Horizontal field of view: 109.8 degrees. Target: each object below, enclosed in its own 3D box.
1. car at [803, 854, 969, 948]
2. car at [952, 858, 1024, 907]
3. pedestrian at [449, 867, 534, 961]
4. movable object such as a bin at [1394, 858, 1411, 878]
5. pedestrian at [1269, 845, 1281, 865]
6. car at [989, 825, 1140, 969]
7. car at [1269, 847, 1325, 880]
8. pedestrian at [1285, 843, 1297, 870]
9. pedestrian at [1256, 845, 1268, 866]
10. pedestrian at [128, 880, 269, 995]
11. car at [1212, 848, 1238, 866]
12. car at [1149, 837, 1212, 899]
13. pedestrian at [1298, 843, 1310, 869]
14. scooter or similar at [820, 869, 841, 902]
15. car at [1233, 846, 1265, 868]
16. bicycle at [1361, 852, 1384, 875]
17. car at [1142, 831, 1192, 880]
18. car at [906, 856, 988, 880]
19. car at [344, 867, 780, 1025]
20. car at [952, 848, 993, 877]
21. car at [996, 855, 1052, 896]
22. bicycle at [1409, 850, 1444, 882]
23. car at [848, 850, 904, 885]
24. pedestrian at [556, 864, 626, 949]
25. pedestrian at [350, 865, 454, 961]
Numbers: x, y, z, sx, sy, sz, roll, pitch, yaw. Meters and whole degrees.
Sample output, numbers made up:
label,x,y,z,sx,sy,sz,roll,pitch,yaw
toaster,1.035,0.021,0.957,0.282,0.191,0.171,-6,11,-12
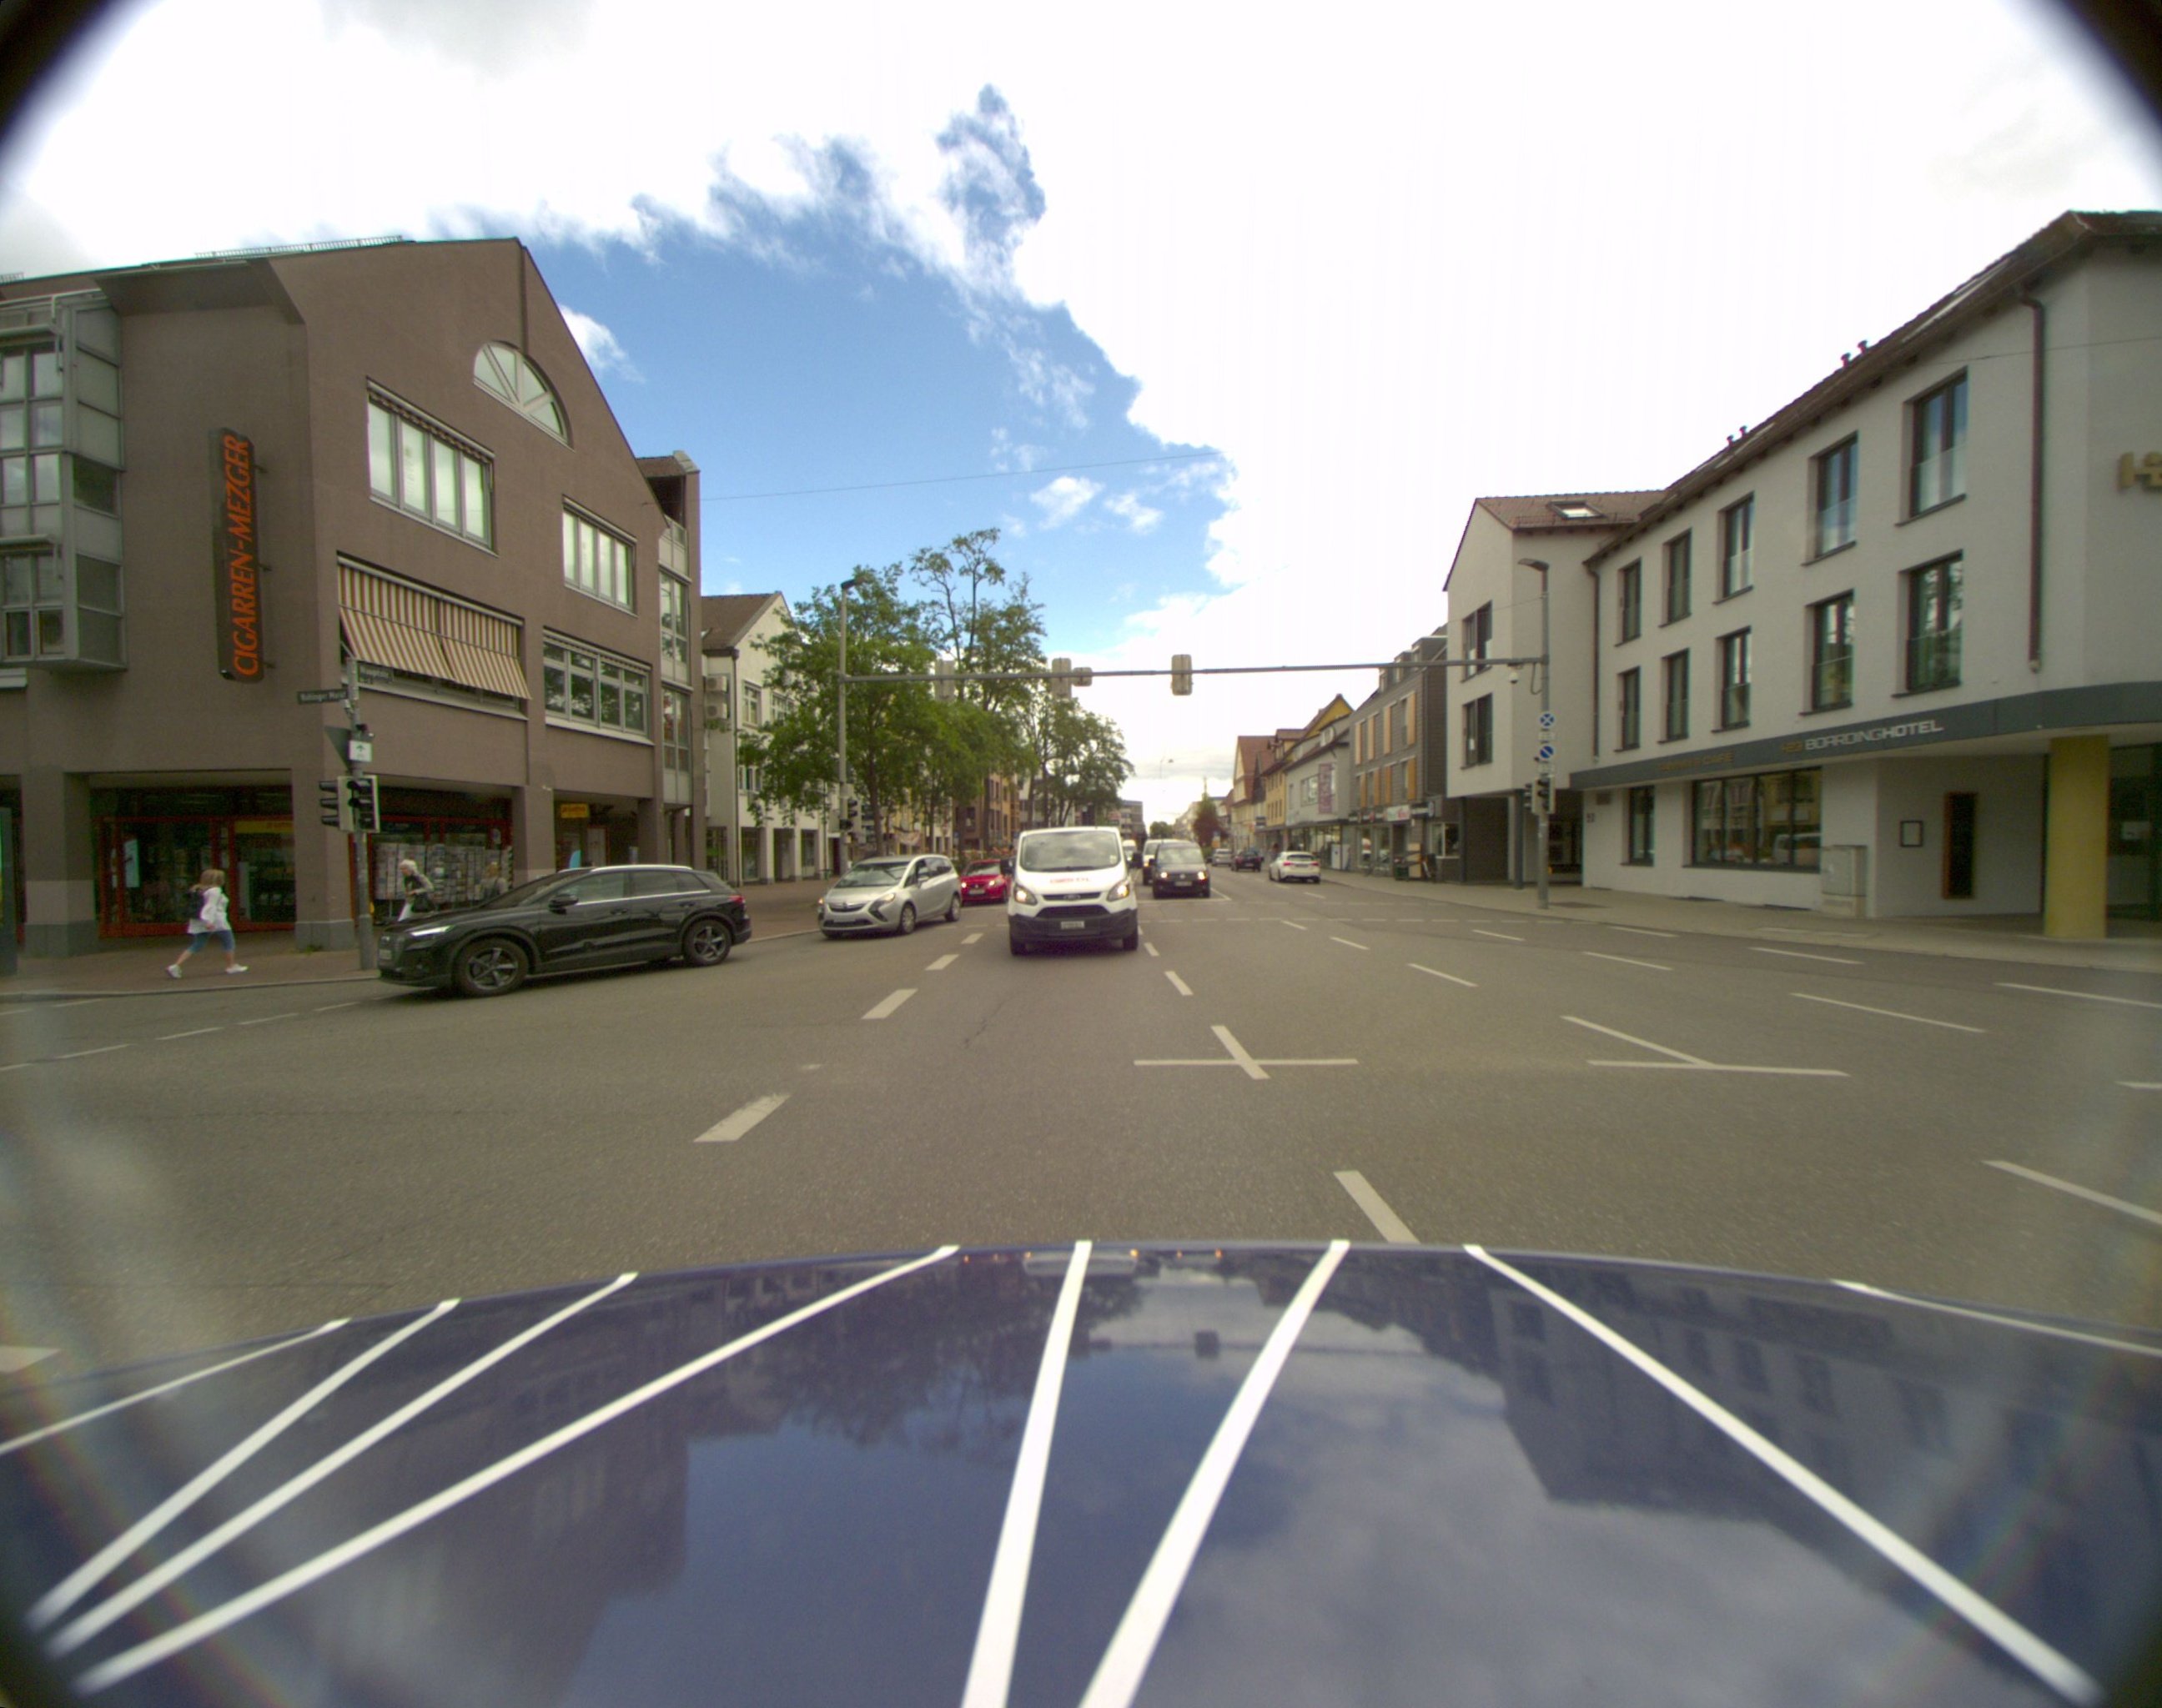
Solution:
label,x,y,z,sx,sy,sz,roll,pitch,yaw
car,-4.097,0.915,16.826,1.742,1.691,4.384,-3,0,11
car,-3.104,0.922,25.983,1.630,1.440,3.643,-3,0,6
pedestrian,-10.594,1.058,13.690,0.743,1.617,0.953,0,1,2
movable object such as a bin,14.250,0.618,33.700,0.552,0.894,0.507,-1,1,4
pedestrian,15.567,0.080,60.899,0.811,1.574,0.921,-1,1,6
car,-0.016,0.582,13.652,1.939,1.968,5.781,-3,0,6
car,9.994,0.418,35.465,1.747,1.450,4.236,0,0,5
pedestrian,14.861,0.168,53.748,0.708,1.828,1.028,-1,1,7
pedestrian,14.571,0.117,61.086,0.811,1.652,0.921,-1,1,6
pedestrian,-13.162,1.210,11.373,0.823,1.586,1.039,-1,1,5
car,12.720,0.235,67.257,1.873,1.477,4.001,-1,0,5
car,3.227,0.406,25.358,1.711,1.810,4.572,-3,0,4
pedestrian,15.737,0.146,53.634,0.708,1.771,0.870,-1,1,7
scooter or similar,-8.950,1.114,27.188,0.471,1.081,1.885,-1,1,-12
car,11.490,0.184,52.139,1.747,1.450,3.819,0,0,5
bicycle,14.501,0.440,37.782,0.573,1.094,1.903,-1,1,6
car,3.831,0.036,34.251,1.998,2.002,4.841,-2,1,6
car,-8.230,0.846,46.819,4.648,1.445,1.740,0,1,5
car,-7.196,1.105,11.140,1.852,1.600,4.870,-2,0,36
car,-7.499,0.561,52.951,1.998,1.865,4.754,0,1,3
car,-2.367,0.883,32.585,1.801,1.521,4.001,-3,0,4
bicycle,14.100,0.480,31.091,0.583,1.225,2.120,-1,1,4
car,-11.268,0.701,42.097,1.738,1.794,4.261,0,1,3
pedestrian,-9.799,1.030,15.236,0.743,1.617,0.953,0,1,2
pedestrian,-12.061,1.015,13.539,0.810,1.617,1.093,0,1,3
